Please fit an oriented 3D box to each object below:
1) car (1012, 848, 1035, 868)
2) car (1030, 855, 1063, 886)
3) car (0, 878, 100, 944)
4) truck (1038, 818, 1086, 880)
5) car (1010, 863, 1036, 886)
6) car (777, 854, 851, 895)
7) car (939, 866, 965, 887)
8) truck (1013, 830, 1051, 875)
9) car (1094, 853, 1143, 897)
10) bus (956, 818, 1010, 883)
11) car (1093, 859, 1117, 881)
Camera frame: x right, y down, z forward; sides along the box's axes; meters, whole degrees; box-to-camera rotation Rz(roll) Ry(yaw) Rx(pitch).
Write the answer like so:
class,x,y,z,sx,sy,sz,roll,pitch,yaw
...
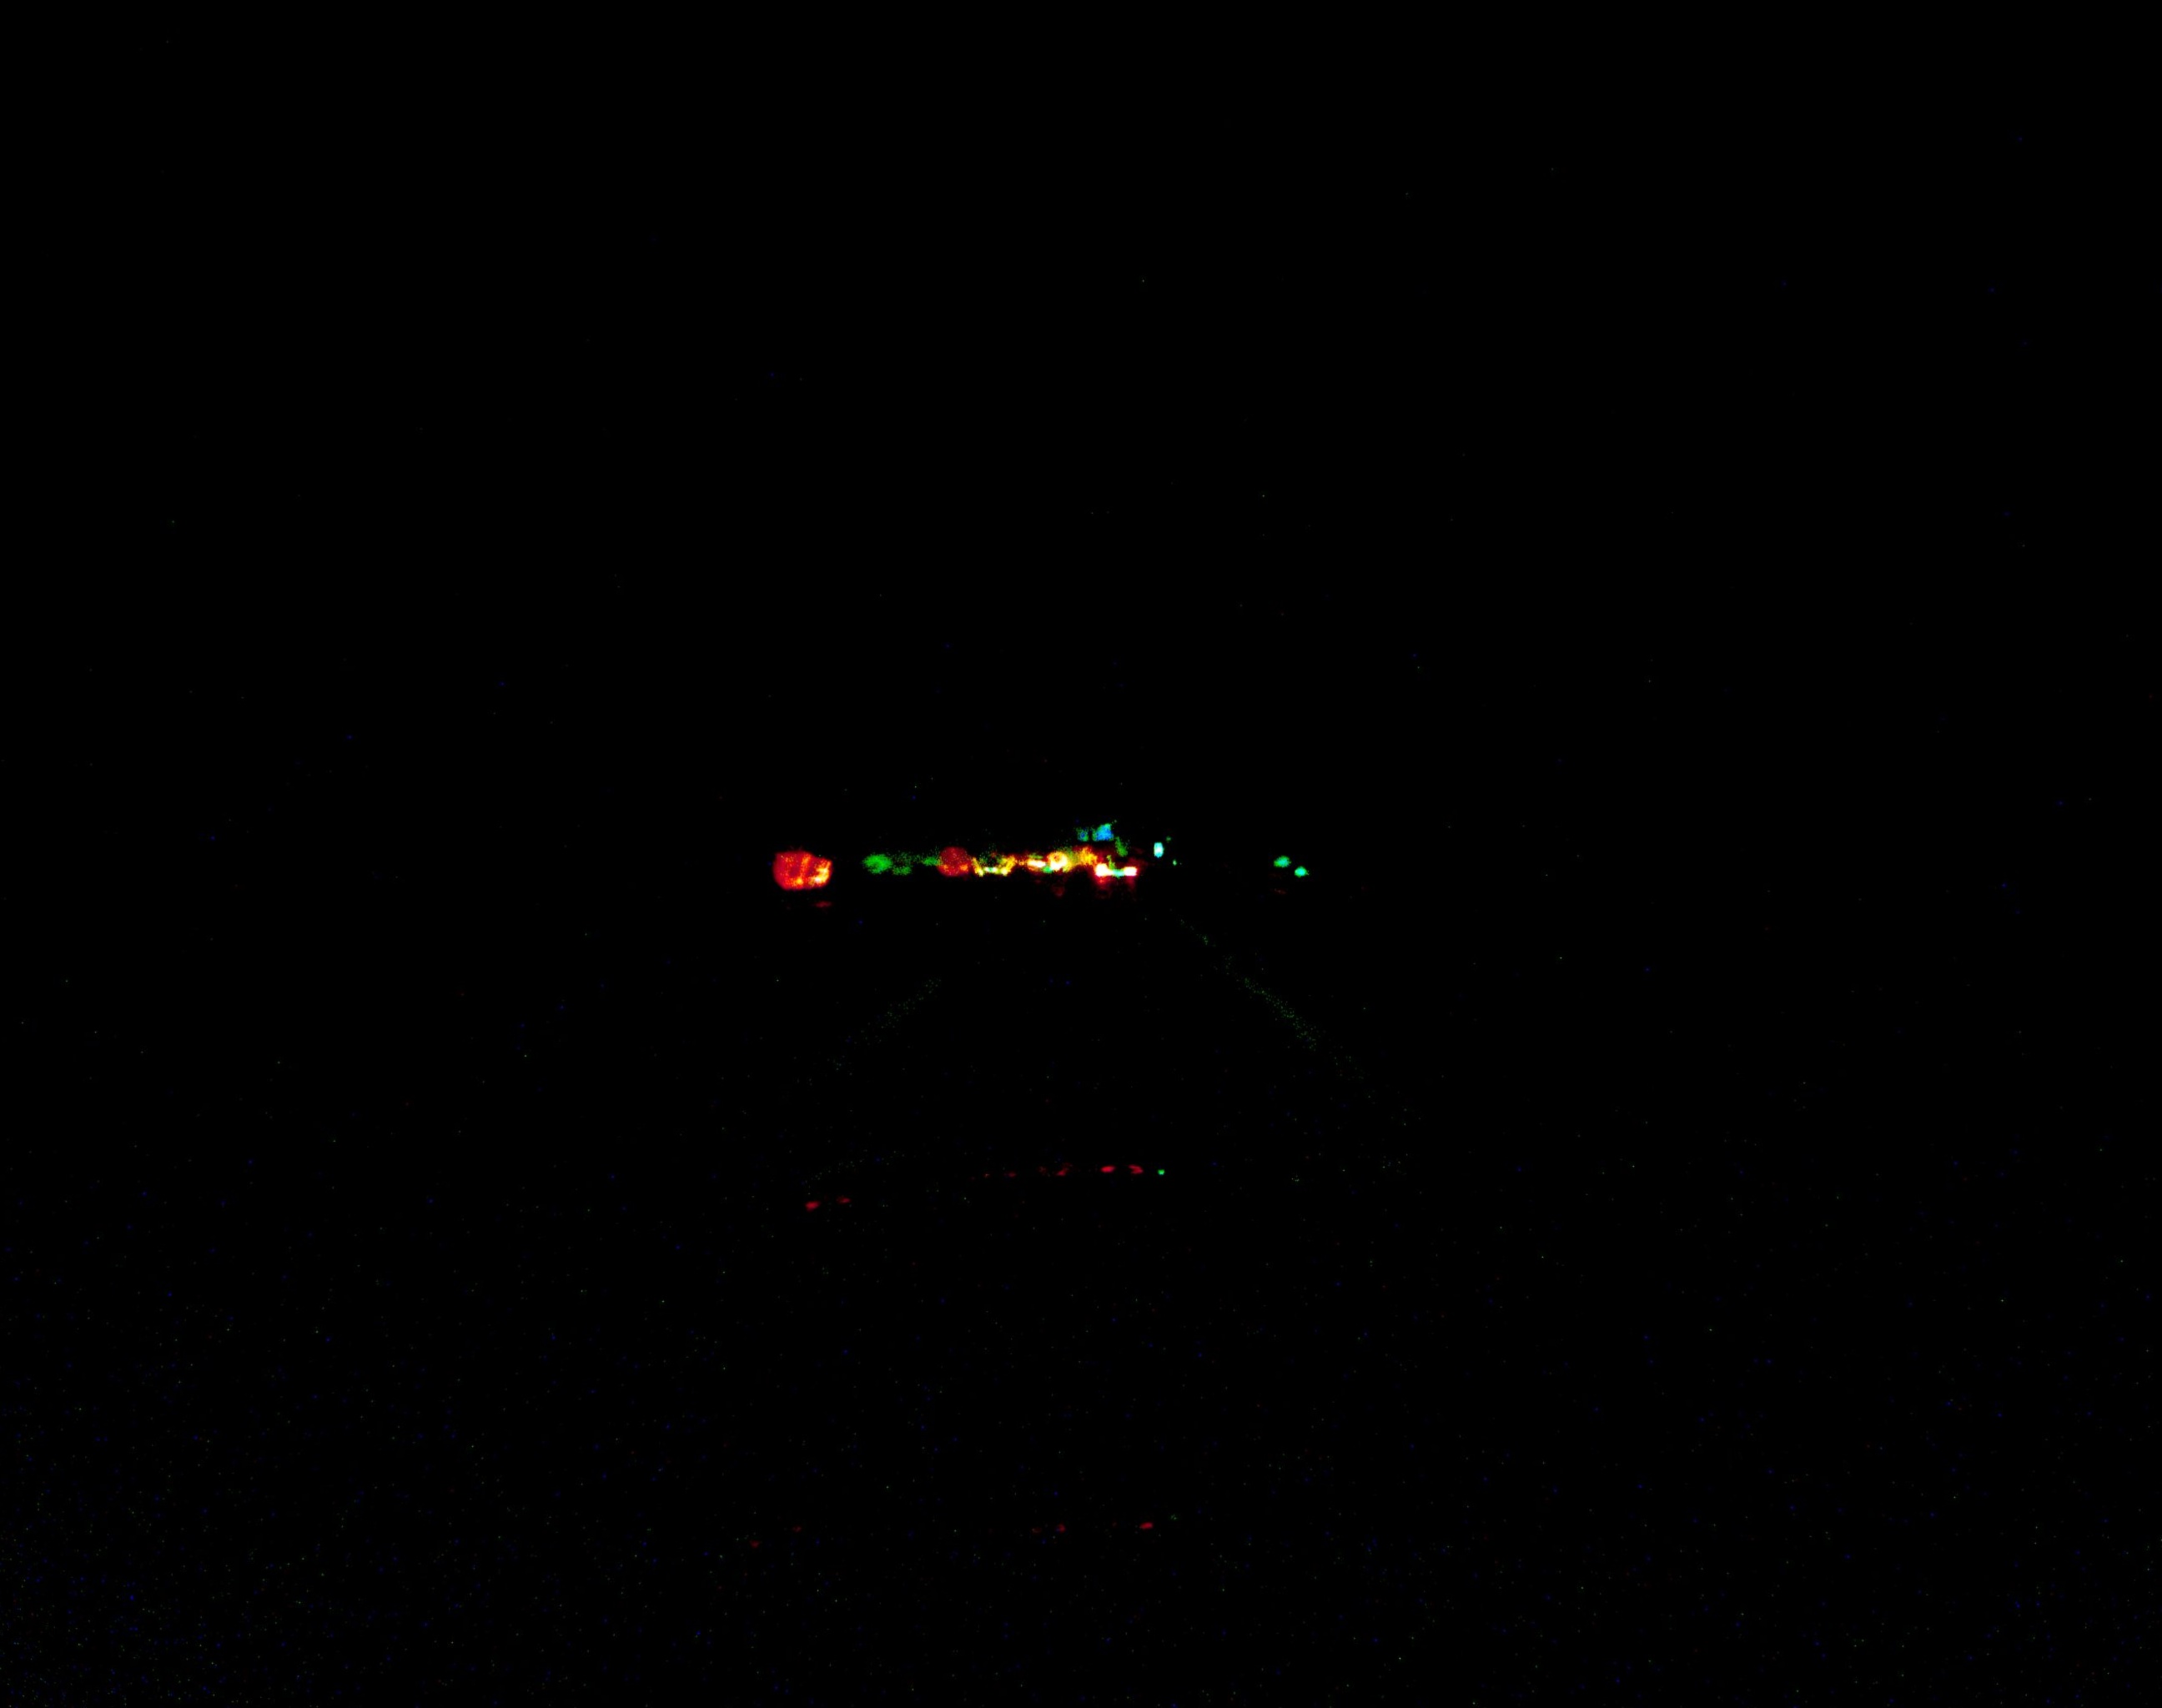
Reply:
class,x,y,z,sx,sy,sz,roll,pitch,yaw
car,-5.376,0.401,76.538,1.988,1.807,3.997,0,-1,-2
car,-2.315,1.101,56.097,2.120,2.014,4.643,0,-1,-1
car,-27.131,1.418,19.484,1.874,1.557,4.460,0,-1,0
truck,-1.692,-0.430,80.253,4.196,5.648,11.468,0,-1,1
car,-4.766,1.679,67.336,1.988,1.807,3.997,0,-1,-2
car,-10.852,0.809,33.390,1.990,1.596,3.993,0,-1,-5
car,-10.542,1.828,66.898,1.690,1.650,3.836,0,-1,-3
truck,-6.423,-0.126,109.691,4.196,5.648,11.468,0,-1,1
car,1.606,0.887,35.667,1.986,1.807,4.001,0,-1,1
bus,-7.207,-0.196,61.628,3.089,4.508,10.904,0,-1,-2
car,2.218,1.498,77.020,2.120,2.014,4.643,0,-1,-1
